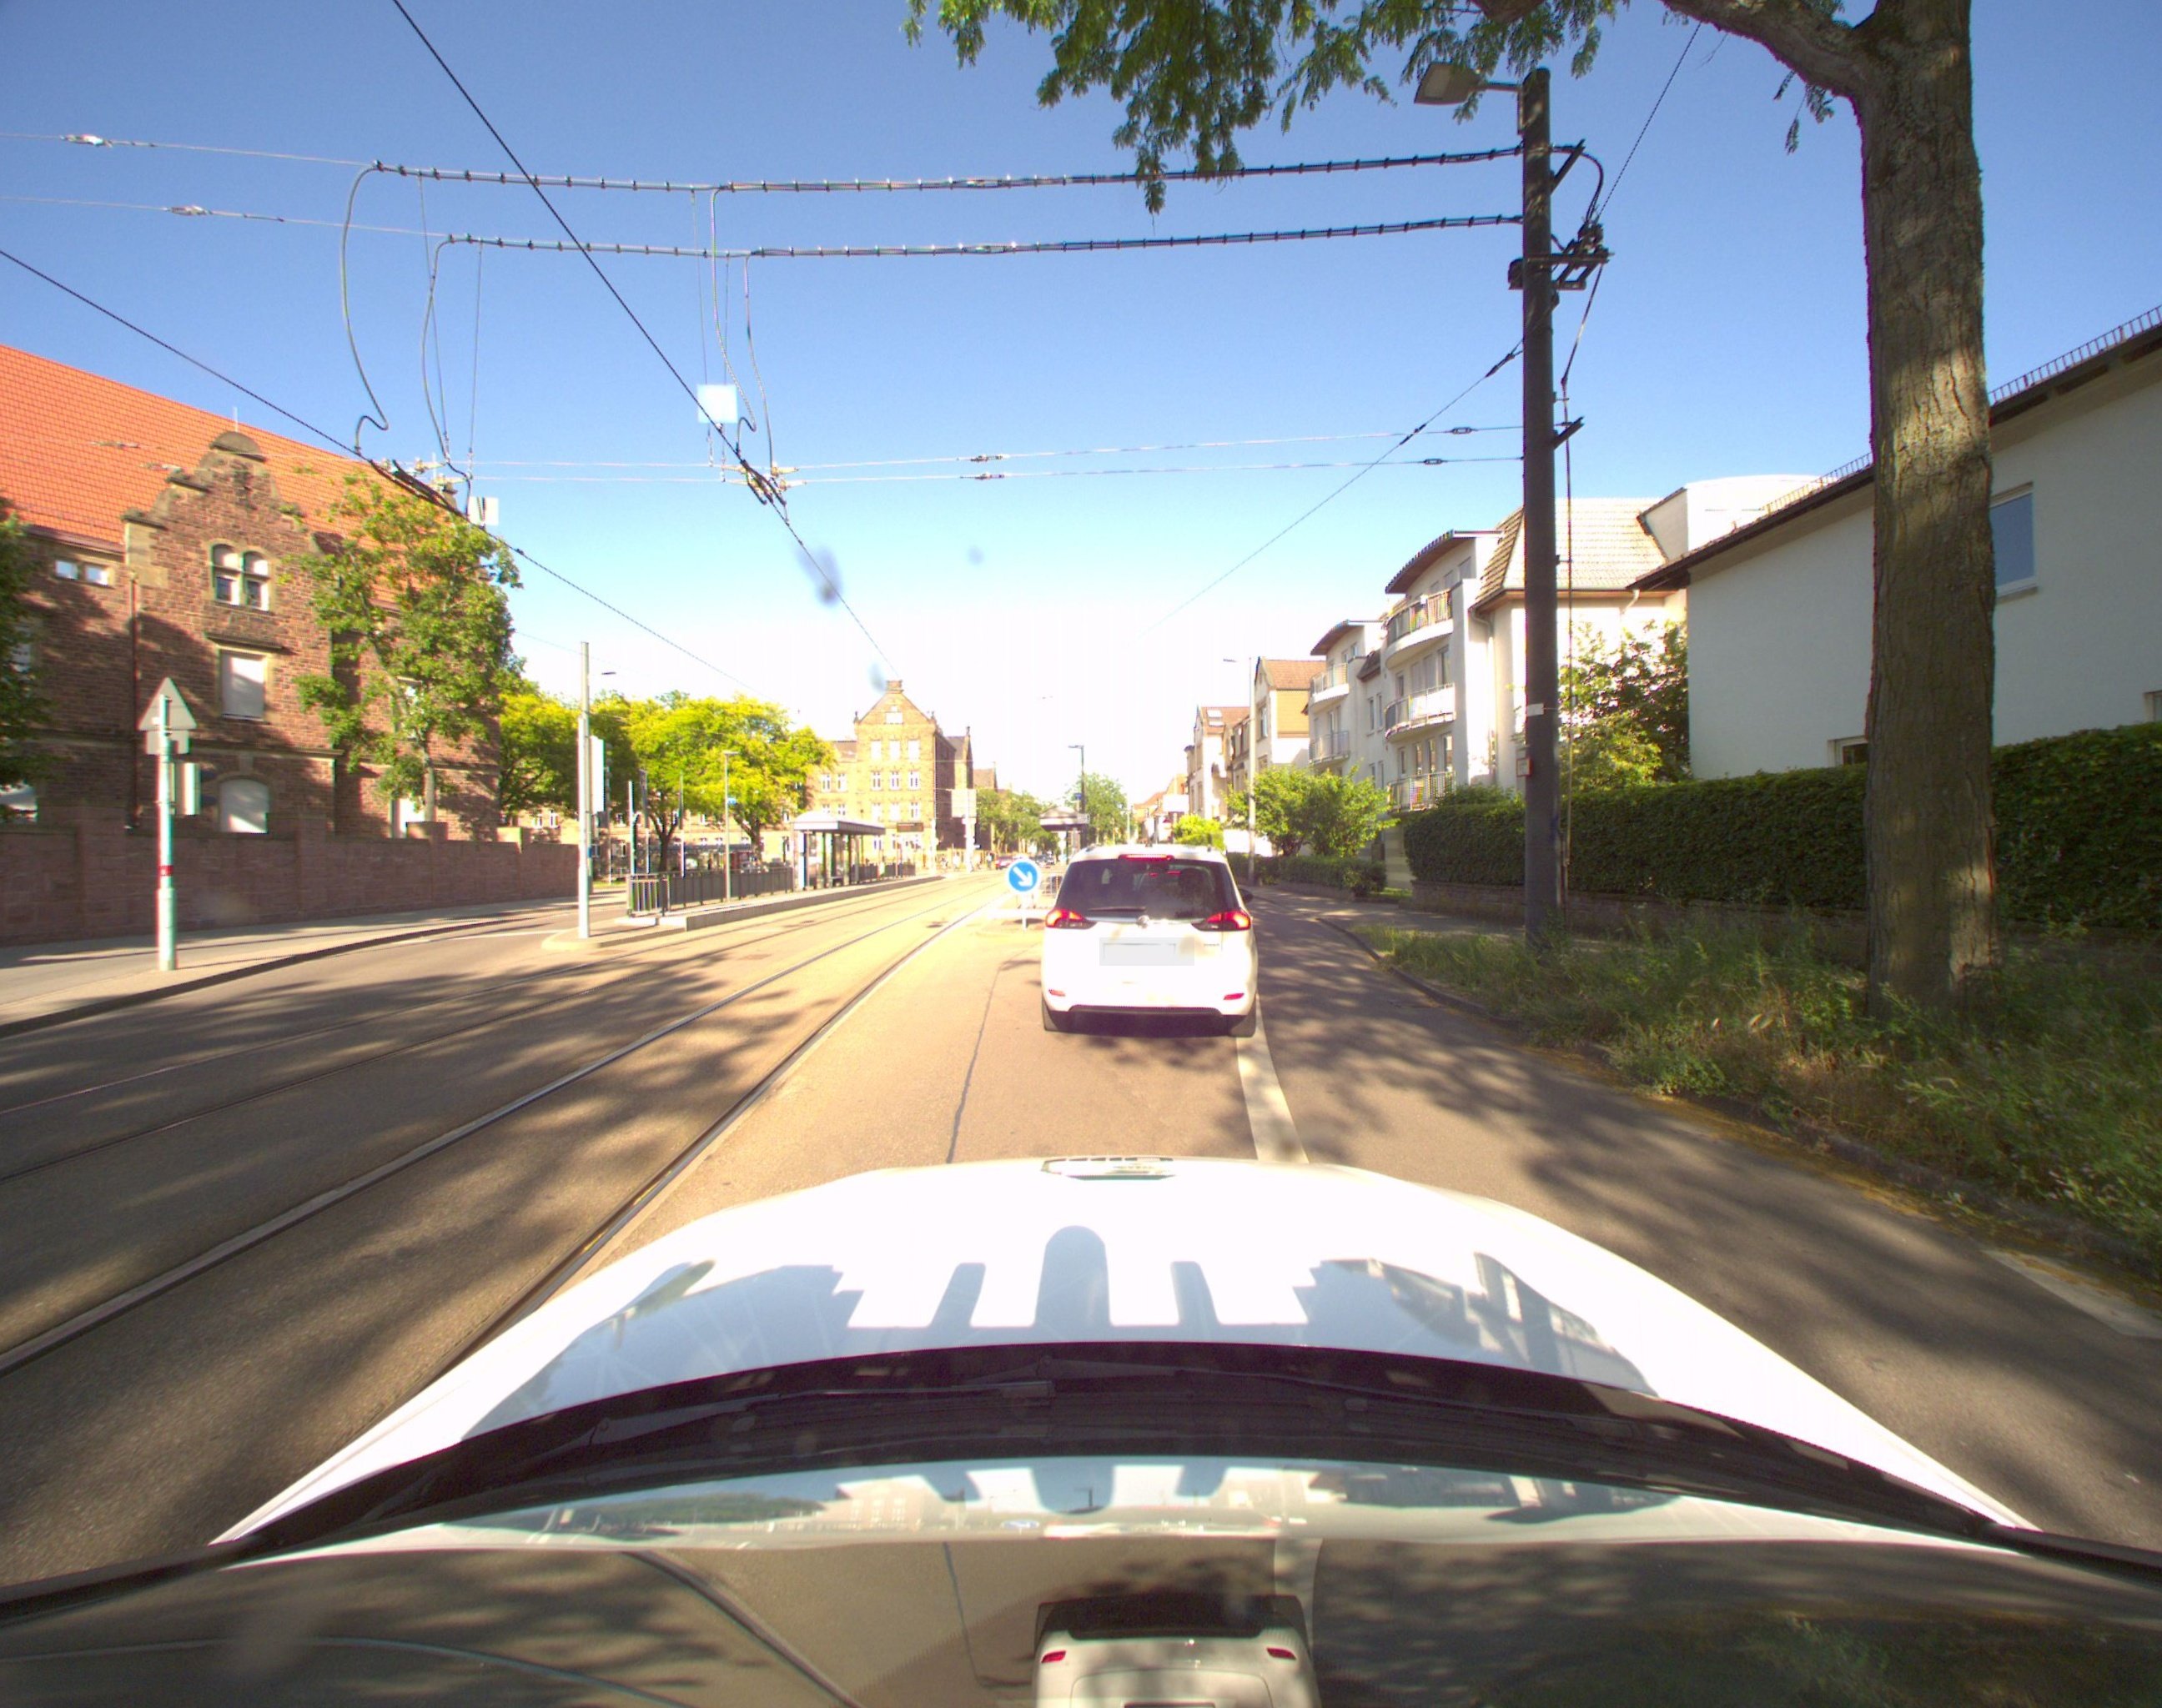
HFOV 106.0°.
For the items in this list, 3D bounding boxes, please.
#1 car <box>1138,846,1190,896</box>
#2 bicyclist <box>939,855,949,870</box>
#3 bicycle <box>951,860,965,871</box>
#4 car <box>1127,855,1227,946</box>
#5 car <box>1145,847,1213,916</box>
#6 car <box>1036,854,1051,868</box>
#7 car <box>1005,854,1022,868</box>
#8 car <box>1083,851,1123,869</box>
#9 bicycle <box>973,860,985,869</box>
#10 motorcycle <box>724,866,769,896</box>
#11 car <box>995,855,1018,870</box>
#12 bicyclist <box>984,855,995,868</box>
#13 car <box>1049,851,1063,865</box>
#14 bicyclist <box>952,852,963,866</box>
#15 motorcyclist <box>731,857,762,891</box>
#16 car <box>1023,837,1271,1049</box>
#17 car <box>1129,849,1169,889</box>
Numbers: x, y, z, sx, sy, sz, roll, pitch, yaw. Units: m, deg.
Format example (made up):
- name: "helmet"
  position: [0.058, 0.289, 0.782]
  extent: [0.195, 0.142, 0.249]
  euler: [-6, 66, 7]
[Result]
- name: "car"
  position: [2.913, 0.577, 29.232]
  extent: [1.590, 1.635, 3.903]
  euler: [1, 0, 2]
- name: "bicyclist"
  position: [-13.531, 0.797, 80.461]
  extent: [0.649, 1.459, 1.155]
  euler: [-1, 0, 10]
- name: "bicycle"
  position: [-13.084, 1.227, 86.662]
  extent: [0.809, 1.198, 1.959]
  euler: [-1, 0, 13]
- name: "car"
  position: [1.771, 0.743, 14.860]
  extent: [1.560, 1.401, 3.792]
  euler: [1, 0, 7]
- name: "car"
  position: [2.559, 0.644, 21.098]
  extent: [1.560, 1.614, 3.792]
  euler: [1, 0, 7]
- name: "car"
  position: [-4.388, 0.835, 95.871]
  extent: [1.663, 1.629, 3.995]
  euler: [-1, 0, -4]
- name: "car"
  position: [-8.949, 0.871, 108.029]
  extent: [1.692, 1.809, 4.001]
  euler: [-1, 0, 2]
- name: "car"
  position: [2.362, 0.651, 86.698]
  extent: [3.950, 1.808, 1.533]
  euler: [-1, 0, 27]
- name: "bicycle"
  position: [-11.871, 1.191, 94.764]
  extent: [0.664, 1.072, 2.024]
  euler: [0, 0, 17]
- name: "motorcycle"
  position: [-13.749, 1.098, 33.541]
  extent: [0.909, 1.153, 2.427]
  euler: [-1, 0, -2]
- name: "car"
  position: [-8.323, 0.923, 91.320]
  extent: [1.809, 1.607, 4.365]
  euler: [-1, 0, 5]
- name: "bicyclist"
  position: [-10.634, 0.870, 94.704]
  extent: [0.755, 1.536, 1.353]
  euler: [0, 0, 13]
- name: "car"
  position: [-3.786, 0.584, 124.510]
  extent: [1.988, 2.013, 3.997]
  euler: [-1, 0, -2]
- name: "bicyclist"
  position: [-13.120, 0.567, 86.560]
  extent: [0.751, 1.470, 1.195]
  euler: [-1, 0, 13]
- name: "motorcyclist"
  position: [-13.756, 0.811, 33.506]
  extent: [0.887, 1.383, 0.907]
  euler: [-1, 0, -2]
- name: "car"
  position: [0.747, 0.669, 8.192]
  extent: [1.868, 1.585, 4.008]
  euler: [0, 0, 7]
- name: "car"
  position: [2.983, 0.634, 36.271]
  extent: [1.590, 1.635, 3.903]
  euler: [1, 0, 2]
